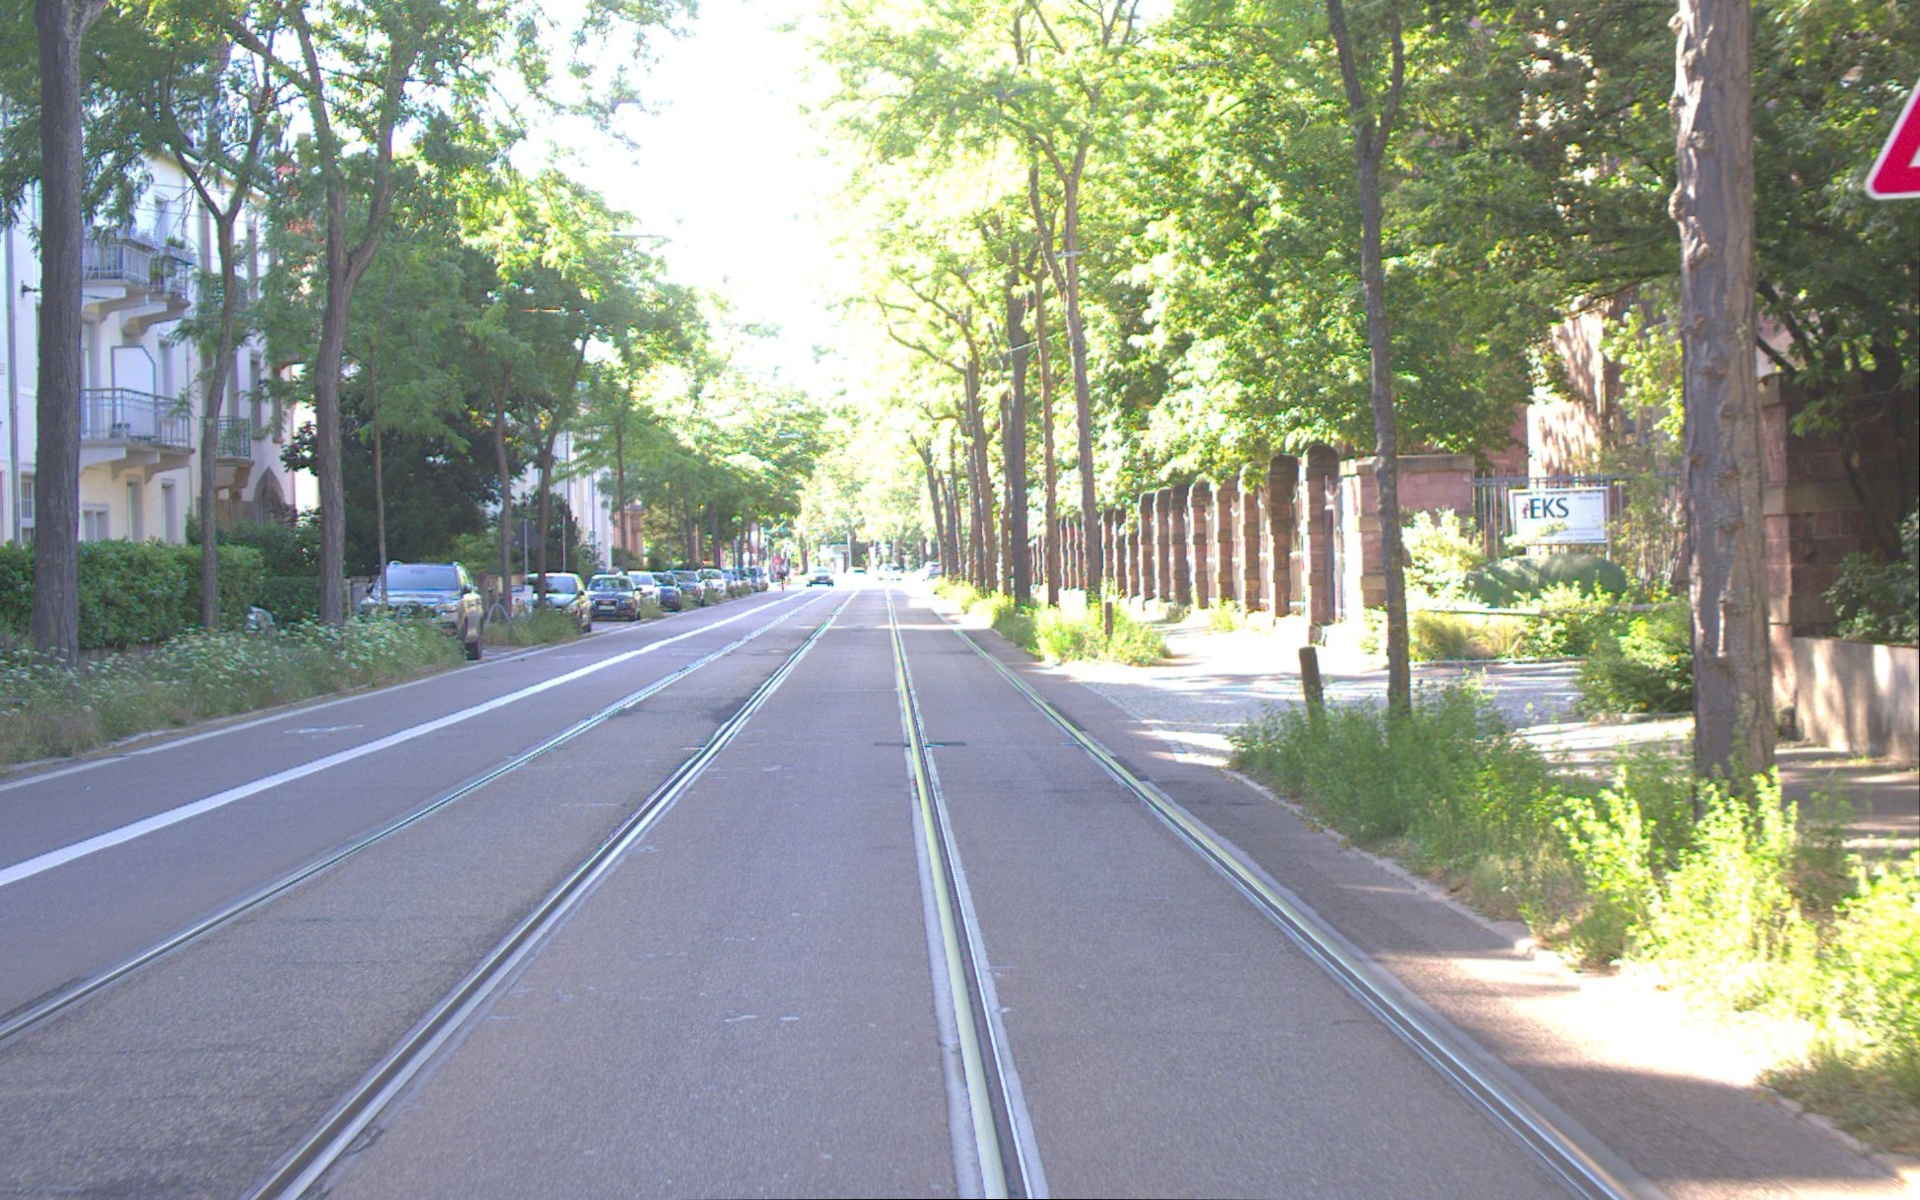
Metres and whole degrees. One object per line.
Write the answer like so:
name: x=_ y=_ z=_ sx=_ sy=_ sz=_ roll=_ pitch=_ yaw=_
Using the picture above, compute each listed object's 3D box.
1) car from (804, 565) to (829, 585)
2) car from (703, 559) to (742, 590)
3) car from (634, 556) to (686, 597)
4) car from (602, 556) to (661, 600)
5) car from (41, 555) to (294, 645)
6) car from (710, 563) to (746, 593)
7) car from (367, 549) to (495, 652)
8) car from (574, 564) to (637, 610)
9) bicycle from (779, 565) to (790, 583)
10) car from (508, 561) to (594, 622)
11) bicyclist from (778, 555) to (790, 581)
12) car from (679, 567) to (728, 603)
car: x=-10.332 y=-1.820 z=247.723 sx=1.757 sy=1.434 sz=4.524 roll=-1 pitch=1 yaw=-2
car: x=-11.694 y=-1.277 z=169.177 sx=1.702 sy=1.480 sz=4.079 roll=1 pitch=1 yaw=-1
car: x=-11.339 y=-0.902 z=129.993 sx=1.757 sy=1.506 sz=4.439 roll=0 pitch=1 yaw=-2
car: x=-11.443 y=-0.779 z=119.826 sx=1.817 sy=1.506 sz=4.372 roll=0 pitch=1 yaw=-2
car: x=-14.894 y=-0.014 z=64.733 sx=4.300 sy=1.655 sz=1.953 roll=0 pitch=1 yaw=0
car: x=-11.896 y=-1.136 z=176.513 sx=1.687 sy=1.480 sz=3.760 roll=1 pitch=1 yaw=-2
car: x=-9.698 y=-0.016 z=63.283 sx=1.870 sy=1.816 sz=4.772 roll=0 pitch=1 yaw=-3
car: x=-11.118 y=-0.418 z=107.986 sx=1.705 sy=1.401 sz=4.334 roll=0 pitch=1 yaw=-2
bicycle: x=-11.719 y=-1.726 z=229.594 sx=0.626 sy=1.173 sz=1.913 roll=-4 pitch=1 yaw=-1
car: x=-10.566 y=-0.246 z=89.117 sx=1.776 sy=1.536 sz=4.486 roll=0 pitch=1 yaw=-1
bicyclist: x=-11.739 y=-2.135 z=229.526 sx=0.626 sy=1.633 sz=0.940 roll=-4 pitch=1 yaw=-1
car: x=-10.677 y=-0.630 z=143.214 sx=1.817 sy=1.480 sz=4.206 roll=0 pitch=1 yaw=-1
